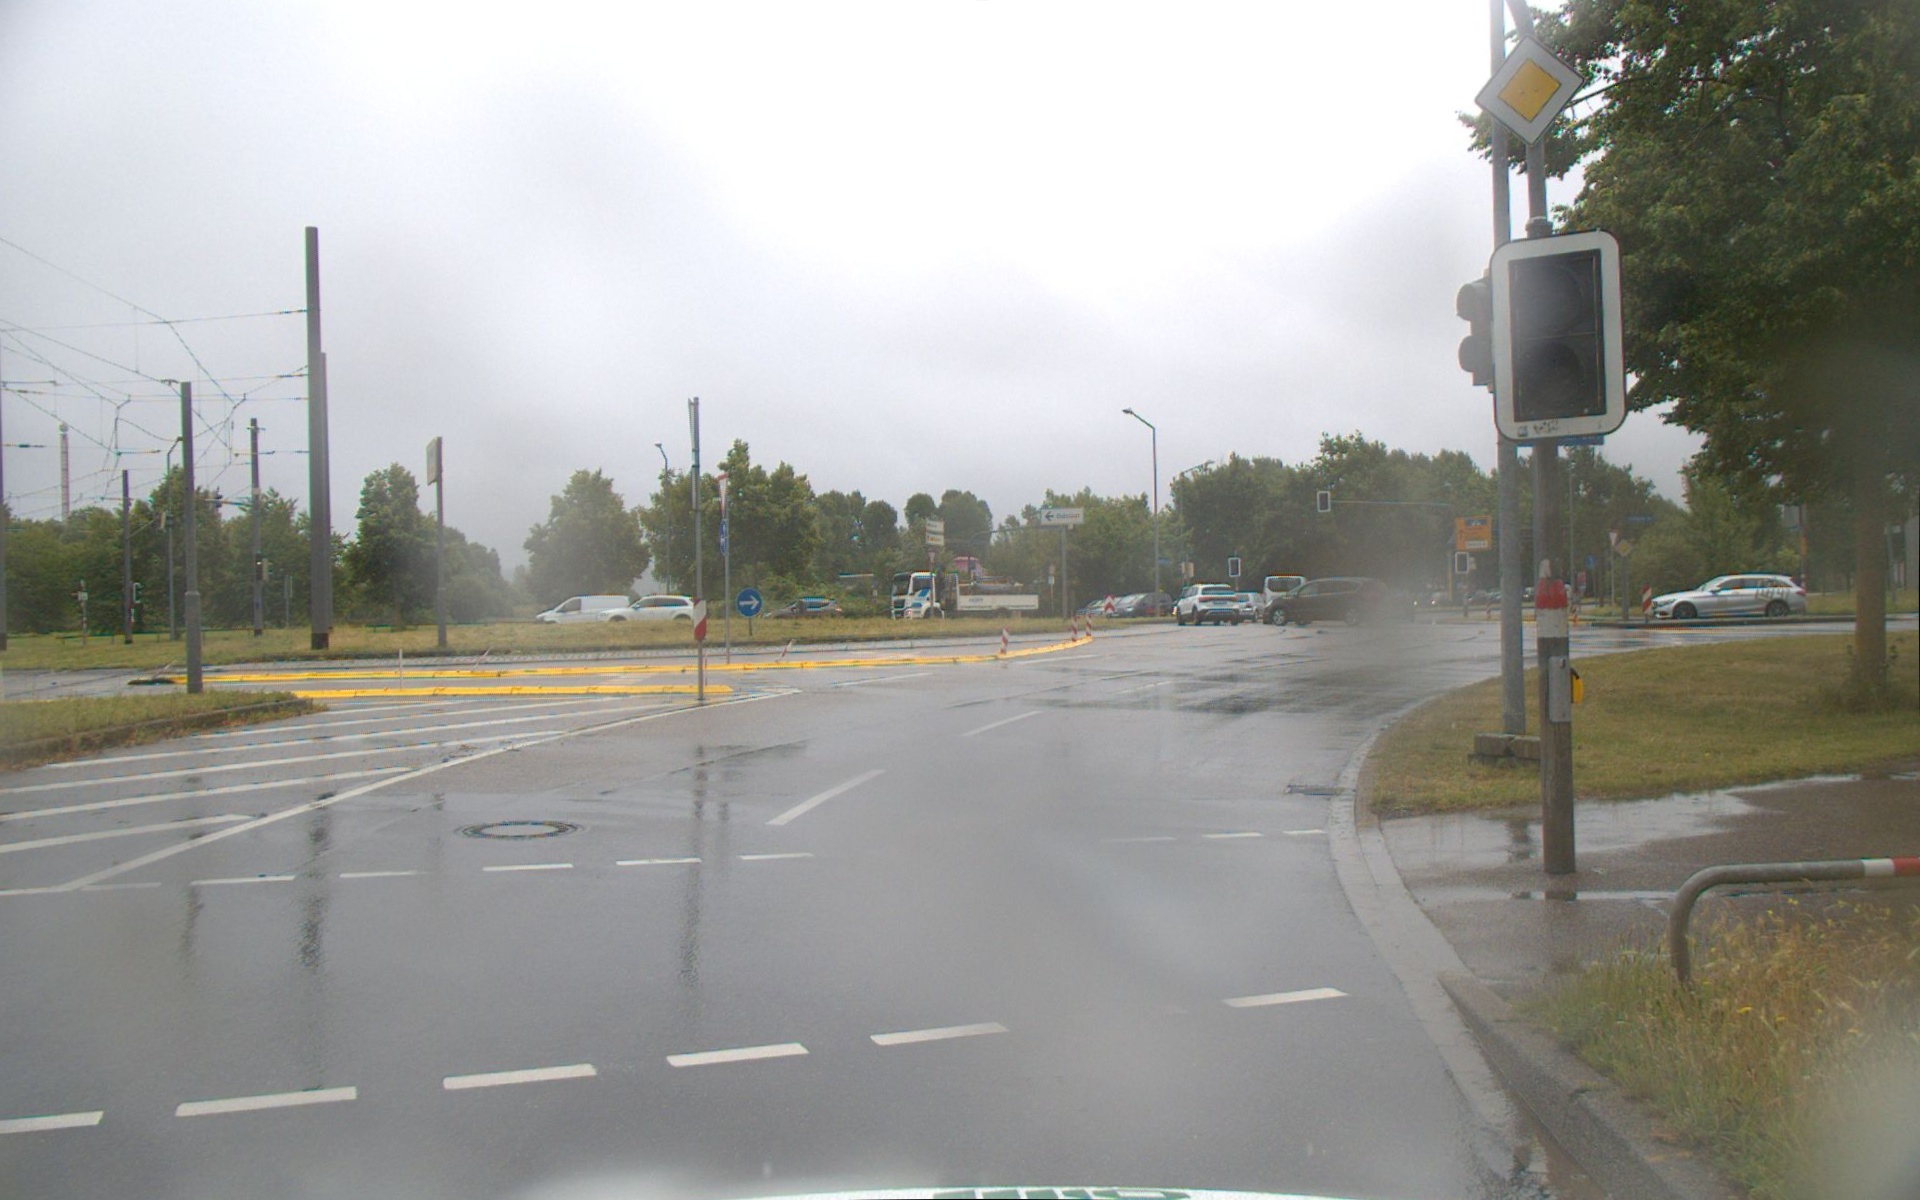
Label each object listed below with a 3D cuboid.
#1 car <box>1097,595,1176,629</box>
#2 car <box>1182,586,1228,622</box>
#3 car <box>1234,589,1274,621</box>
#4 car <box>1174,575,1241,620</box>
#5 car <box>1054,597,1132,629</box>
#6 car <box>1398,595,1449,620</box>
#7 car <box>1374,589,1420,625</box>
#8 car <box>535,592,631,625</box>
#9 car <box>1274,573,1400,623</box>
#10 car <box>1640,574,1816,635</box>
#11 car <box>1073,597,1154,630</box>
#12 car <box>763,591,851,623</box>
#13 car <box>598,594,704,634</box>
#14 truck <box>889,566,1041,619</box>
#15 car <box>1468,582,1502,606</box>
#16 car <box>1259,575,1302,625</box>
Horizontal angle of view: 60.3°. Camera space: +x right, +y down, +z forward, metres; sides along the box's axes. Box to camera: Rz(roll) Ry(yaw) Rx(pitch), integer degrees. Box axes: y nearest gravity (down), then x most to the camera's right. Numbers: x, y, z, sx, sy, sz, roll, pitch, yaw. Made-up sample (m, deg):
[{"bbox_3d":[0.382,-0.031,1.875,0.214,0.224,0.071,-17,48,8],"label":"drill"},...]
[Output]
[{"bbox_3d":[9.655,0.667,89.978,1.747,1.774,4.835,1,0,43],"label":"car"},{"bbox_3d":[10.739,0.164,72.483,1.653,1.518,3.253,1,0,14],"label":"car"},{"bbox_3d":[14.256,0.256,80.135,1.653,1.518,3.253,1,0,14],"label":"car"},{"bbox_3d":[9.694,-0.089,65.088,1.648,1.676,3.941,1,0,-7],"label":"car"},{"bbox_3d":[7.917,0.783,98.493,4.821,1.774,1.752,1,0,-41],"label":"car"},{"bbox_3d":[33.600,0.551,119.823,1.965,1.780,3.975,1,0,42],"label":"car"},{"bbox_3d":[19.625,0.285,74.175,1.654,1.518,3.251,-1,0,21],"label":"car"},{"bbox_3d":[-18.303,0.436,80.400,4.456,1.518,1.606,1,0,-13],"label":"car"},{"bbox_3d":[13.131,-0.062,57.722,3.920,1.676,1.782,1,0,36],"label":"car"},{"bbox_3d":[24.417,0.140,52.707,4.719,1.842,1.790,-1,0,6],"label":"car"},{"bbox_3d":[8.783,0.779,94.170,4.821,1.774,1.752,1,0,-41],"label":"car"},{"bbox_3d":[-7.679,0.346,83.062,4.089,1.518,1.597,1,0,-27],"label":"car"},{"bbox_3d":[-14.387,0.665,76.932,4.764,1.774,1.773,1,0,-12],"label":"car"},{"bbox_3d":[0.333,-0.397,91.636,8.680,2.759,1.979,1,-1,-31],"label":"truck"},{"bbox_3d":[45.958,-0.518,144.661,1.758,2.049,3.659,1,0,36],"label":"car"},{"bbox_3d":[13.847,0.017,71.384,1.745,2.072,4.003,1,0,12],"label":"car"}]
